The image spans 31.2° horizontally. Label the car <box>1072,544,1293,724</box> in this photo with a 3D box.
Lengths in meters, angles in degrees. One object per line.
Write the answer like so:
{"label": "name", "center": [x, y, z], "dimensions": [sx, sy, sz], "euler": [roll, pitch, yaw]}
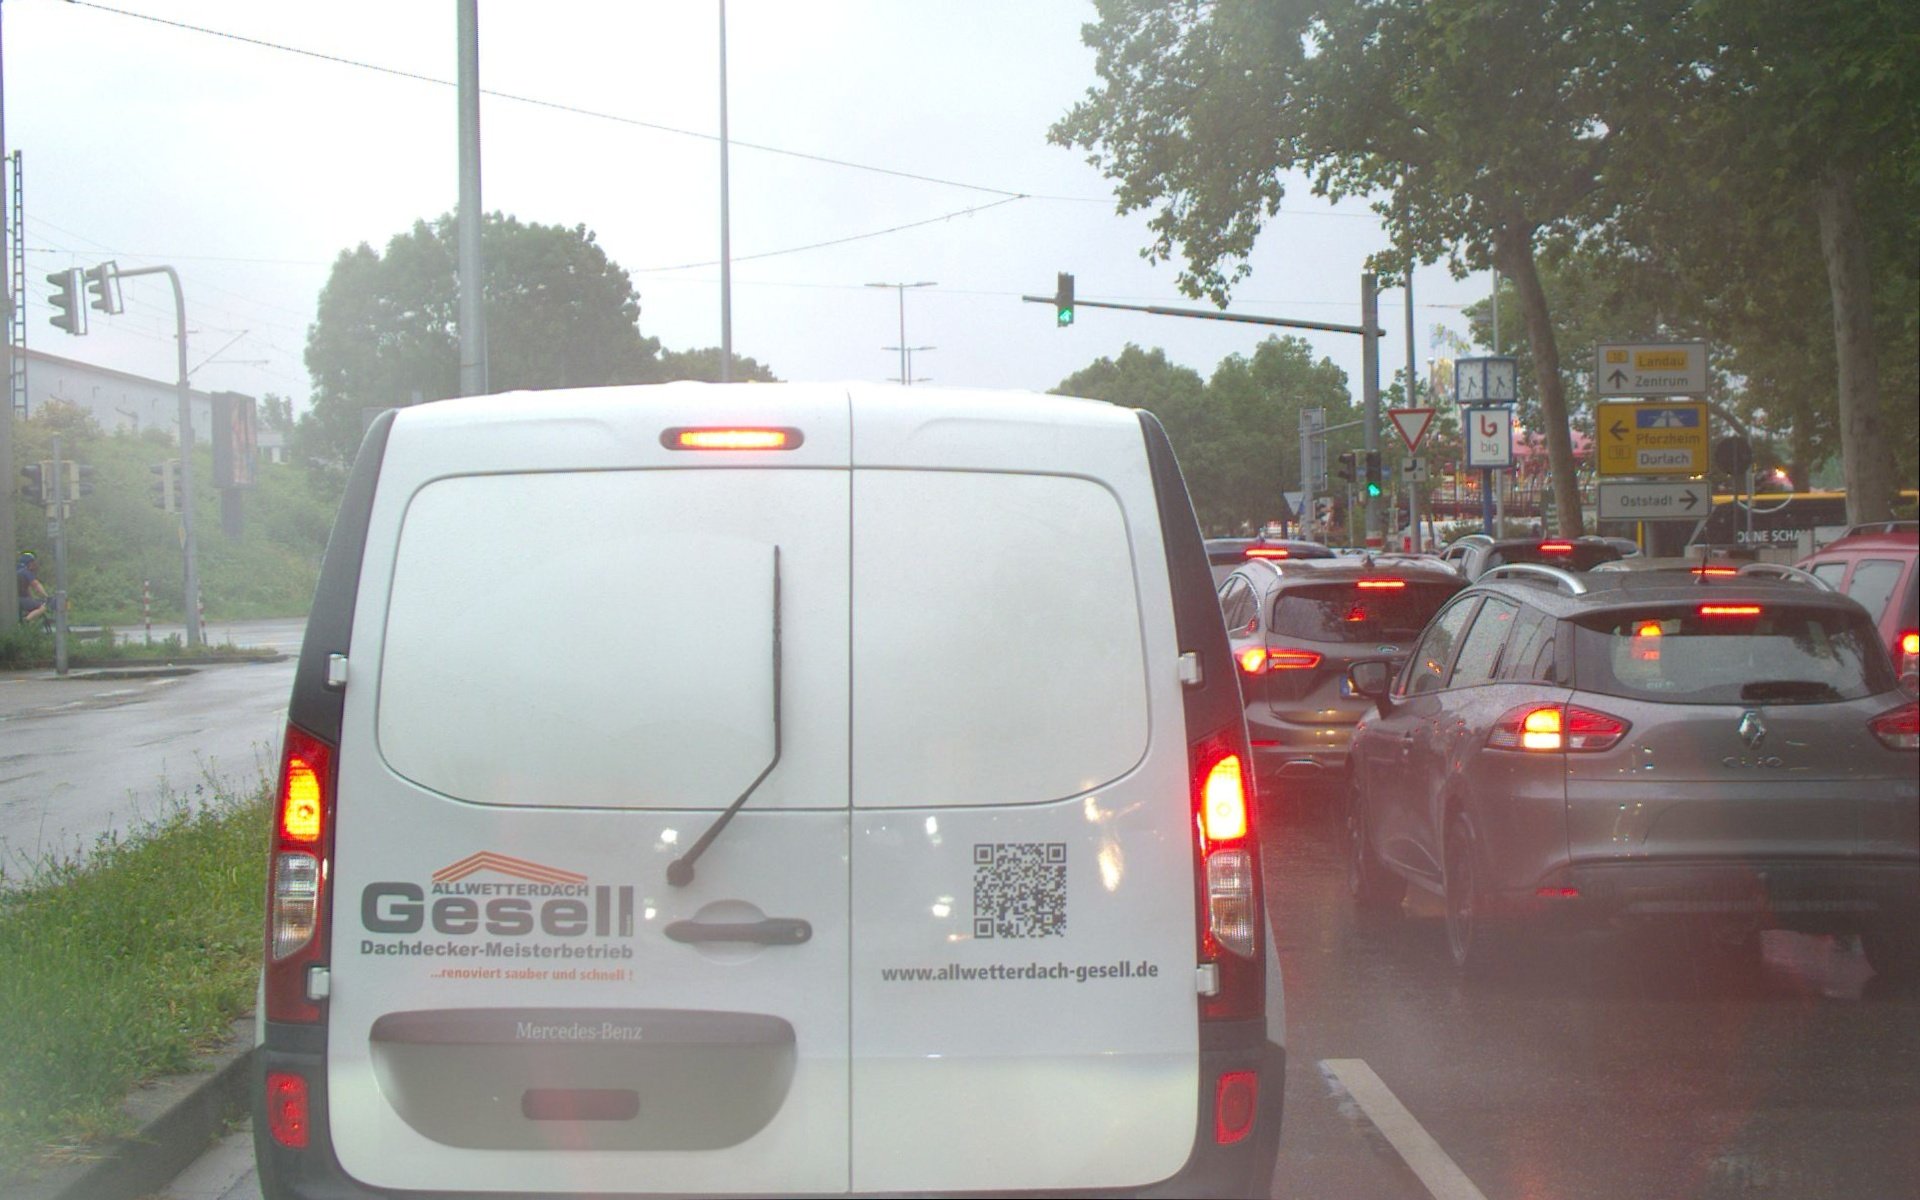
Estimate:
{"label": "car", "center": [2.111, 0.294, 33.520], "dimensions": [1.854, 1.644, 3.843], "euler": [0, 1, -1]}

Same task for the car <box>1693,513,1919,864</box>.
{"label": "car", "center": [5.333, 0.428, 18.694], "dimensions": [1.710, 1.688, 4.272], "euler": [1, 0, -1]}

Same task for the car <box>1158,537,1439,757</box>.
{"label": "car", "center": [2.668, 0.321, 27.857], "dimensions": [1.854, 1.644, 3.843], "euler": [0, 1, -1]}

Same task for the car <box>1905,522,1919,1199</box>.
{"label": "car", "center": [2.973, 0.644, 5.405], "dimensions": [1.747, 1.549, 4.091], "euler": [0, 1, -1]}

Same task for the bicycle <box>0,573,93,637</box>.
{"label": "bicycle", "center": [-14.829, 0.060, 55.567], "dimensions": [1.040, 0.949, 2.889], "euler": [-2, 2, -25]}

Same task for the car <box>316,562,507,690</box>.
{"label": "car", "center": [-6.961, 0.298, 43.969], "dimensions": [1.816, 1.457, 4.000], "euler": [-3, 1, -1]}

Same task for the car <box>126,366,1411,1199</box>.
{"label": "car", "center": [-0.320, 0.476, 7.647], "dimensions": [1.993, 1.770, 4.585], "euler": [0, 1, -1]}

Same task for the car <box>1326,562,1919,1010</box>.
{"label": "car", "center": [2.495, 0.588, 13.100], "dimensions": [1.683, 1.403, 3.843], "euler": [1, 1, -1]}

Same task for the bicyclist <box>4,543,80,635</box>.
{"label": "bicyclist", "center": [-14.829, -0.188, 55.553], "dimensions": [1.040, 1.445, 0.729], "euler": [-2, 2, -25]}

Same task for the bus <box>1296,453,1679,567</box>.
{"label": "bus", "center": [16.952, -2.917, 110.873], "dimensions": [11.970, 3.411, 2.315], "euler": [-1, 1, 0]}

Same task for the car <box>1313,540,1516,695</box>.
{"label": "car", "center": [5.050, 0.164, 38.630], "dimensions": [1.708, 1.644, 3.843], "euler": [0, 1, -1]}

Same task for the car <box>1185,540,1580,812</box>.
{"label": "car", "center": [2.428, 0.381, 20.629], "dimensions": [1.854, 1.455, 3.843], "euler": [0, 1, -1]}

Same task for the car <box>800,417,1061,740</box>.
{"label": "car", "center": [-0.231, -0.193, 26.399], "dimensions": [1.854, 2.288, 3.843], "euler": [0, 1, -1]}

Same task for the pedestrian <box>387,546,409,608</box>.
{"label": "pedestrian", "center": [-15.713, -0.642, 96.100], "dimensions": [0.543, 1.710, 0.563], "euler": [1, 0, -4]}

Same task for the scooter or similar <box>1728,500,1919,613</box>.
{"label": "scooter or similar", "center": [19.980, -0.986, 77.059], "dimensions": [1.890, 2.437, 5.316], "euler": [-1, 1, -41]}

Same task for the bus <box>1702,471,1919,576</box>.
{"label": "bus", "center": [31.340, -2.711, 119.015], "dimensions": [11.969, 3.411, 2.483], "euler": [-2, 2, -25]}
